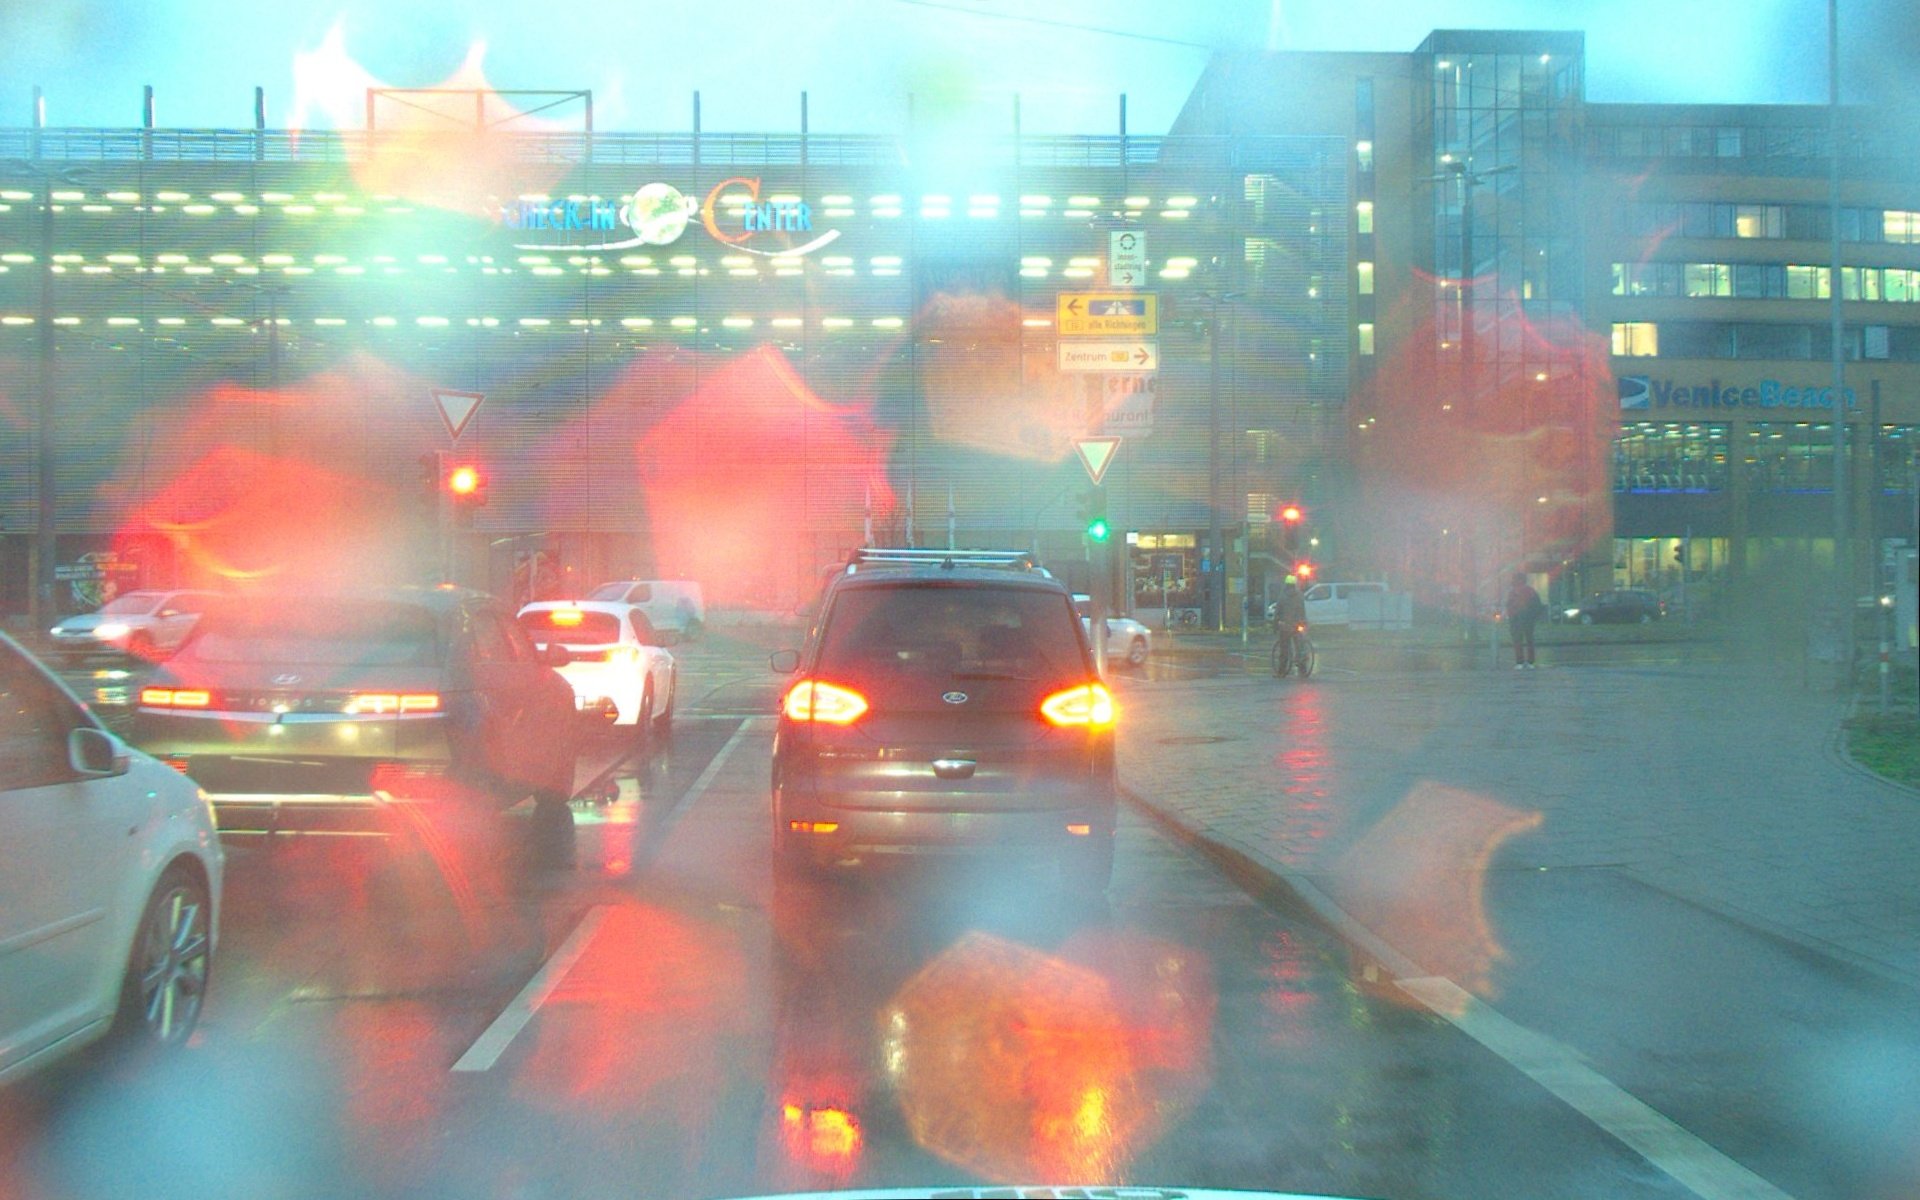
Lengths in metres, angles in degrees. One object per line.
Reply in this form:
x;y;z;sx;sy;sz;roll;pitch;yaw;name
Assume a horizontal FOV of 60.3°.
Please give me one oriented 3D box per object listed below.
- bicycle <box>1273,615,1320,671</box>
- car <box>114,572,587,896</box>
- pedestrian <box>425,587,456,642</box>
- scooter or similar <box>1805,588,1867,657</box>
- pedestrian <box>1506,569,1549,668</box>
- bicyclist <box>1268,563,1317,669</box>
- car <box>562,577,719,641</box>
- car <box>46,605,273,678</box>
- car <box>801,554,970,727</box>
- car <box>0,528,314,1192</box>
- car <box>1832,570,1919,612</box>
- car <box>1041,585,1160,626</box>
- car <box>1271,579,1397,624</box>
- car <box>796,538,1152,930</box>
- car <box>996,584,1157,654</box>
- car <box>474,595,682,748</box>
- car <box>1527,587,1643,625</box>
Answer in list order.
6.233;0.786;30.702;0.641;0.990;1.867;0;0;5;bicycle
-3.536;0.662;10.476;1.786;1.597;4.356;0;0;-6;car
-24.155;0.672;76.861;1.087;2.482;0.966;1;-1;-1;pedestrian
15.734;0.394;29.690;1.290;1.227;0.331;0;0;-29;scooter or similar
11.087;0.352;32.309;0.757;1.910;0.635;-1;0;22;pedestrian
6.157;0.297;30.644;0.774;1.923;0.990;0;0;5;bicyclist
-9.874;0.263;51.533;1.866;1.904;4.947;-1;0;34;car
-16.713;0.830;34.788;1.606;1.410;4.477;-1;0;19;car
-0.955;0.426;19.950;1.807;1.837;4.483;0;0;-4;car
-3.157;0.624;3.963;1.637;1.627;4.221;1;0;-2;car
39.748;-0.393;70.255;4.508;1.749;1.926;0;0;-8;car
5.453;0.196;64.213;4.257;1.512;1.858;-1;0;-16;car
14.766;0.060;65.366;4.547;1.707;1.784;-1;0;-6;car
0.043;0.635;9.812;1.640;1.811;3.999;1;0;-1;car
2.476;0.372;34.598;1.613;1.385;3.717;0;0;37;car
-4.058;0.697;18.125;1.724;1.489;3.913;0;0;-6;car
25.648;0.241;67.861;4.335;1.470;1.623;-1;0;-15;car
